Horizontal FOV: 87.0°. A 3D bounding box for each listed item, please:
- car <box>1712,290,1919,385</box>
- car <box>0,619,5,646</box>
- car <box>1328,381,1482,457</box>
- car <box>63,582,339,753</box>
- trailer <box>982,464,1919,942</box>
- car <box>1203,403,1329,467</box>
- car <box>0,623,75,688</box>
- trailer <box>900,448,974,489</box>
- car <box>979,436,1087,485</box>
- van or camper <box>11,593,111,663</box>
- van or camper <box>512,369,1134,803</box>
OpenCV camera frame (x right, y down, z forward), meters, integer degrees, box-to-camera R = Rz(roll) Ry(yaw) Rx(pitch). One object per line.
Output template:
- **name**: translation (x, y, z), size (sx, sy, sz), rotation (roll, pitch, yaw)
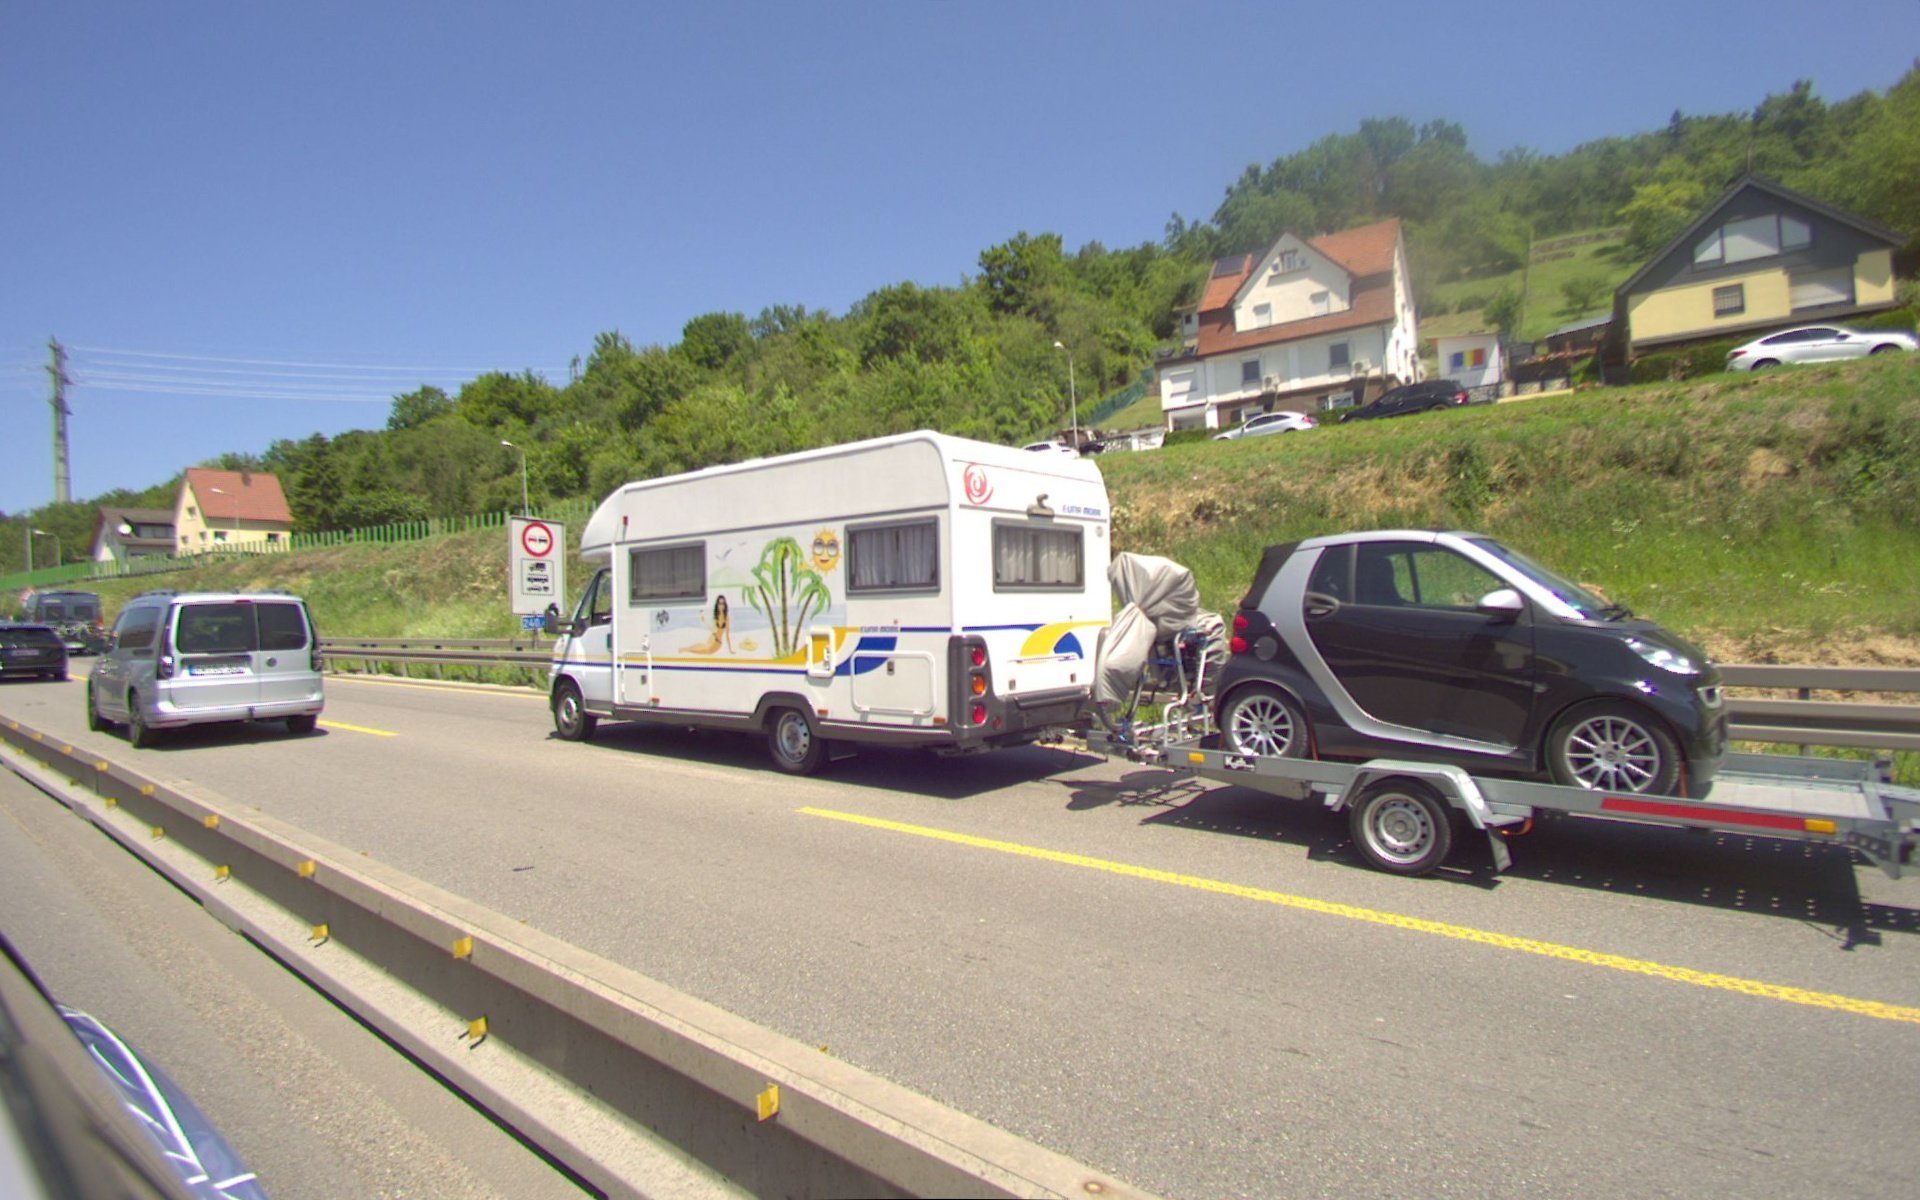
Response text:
- **car**: translation (26.061, -7.910, 30.775), size (4.999, 1.807, 1.977), rotation (0, 0, 34)
- **car**: translation (-58.968, 1.997, 60.918), size (4.283, 1.594, 1.755), rotation (-1, 0, 41)
- **car**: translation (16.501, -6.648, 37.642), size (4.963, 2.023, 2.052), rotation (0, 0, 36)
- **car**: translation (-10.047, 0.774, 13.230), size (5.036, 1.842, 1.819), rotation (-1, -1, 40)
- **trailer**: translation (2.778, 0.449, 6.336), size (5.138, 1.908, 2.080), rotation (-1, -1, 41)
- **car**: translation (12.197, -6.516, 40.428), size (4.421, 1.886, 1.976), rotation (0, 0, 35)
- **car**: translation (-23.903, 1.348, 25.456), size (4.832, 1.486, 1.824), rotation (-1, -1, 41)
- **trailer**: translation (-1.108, -6.323, 48.898), size (3.026, 1.527, 1.888), rotation (0, 0, 30)
- **car**: translation (3.314, -6.325, 46.102), size (4.537, 1.668, 1.979), rotation (0, 0, 32)
- **van or camper**: translation (-35.847, 1.079, 40.285), size (6.560, 2.593, 2.118), rotation (-1, 0, 41)
- **van or camper**: translation (-1.836, -0.045, 10.330), size (6.920, 3.090, 2.267), rotation (-1, -1, 41)
